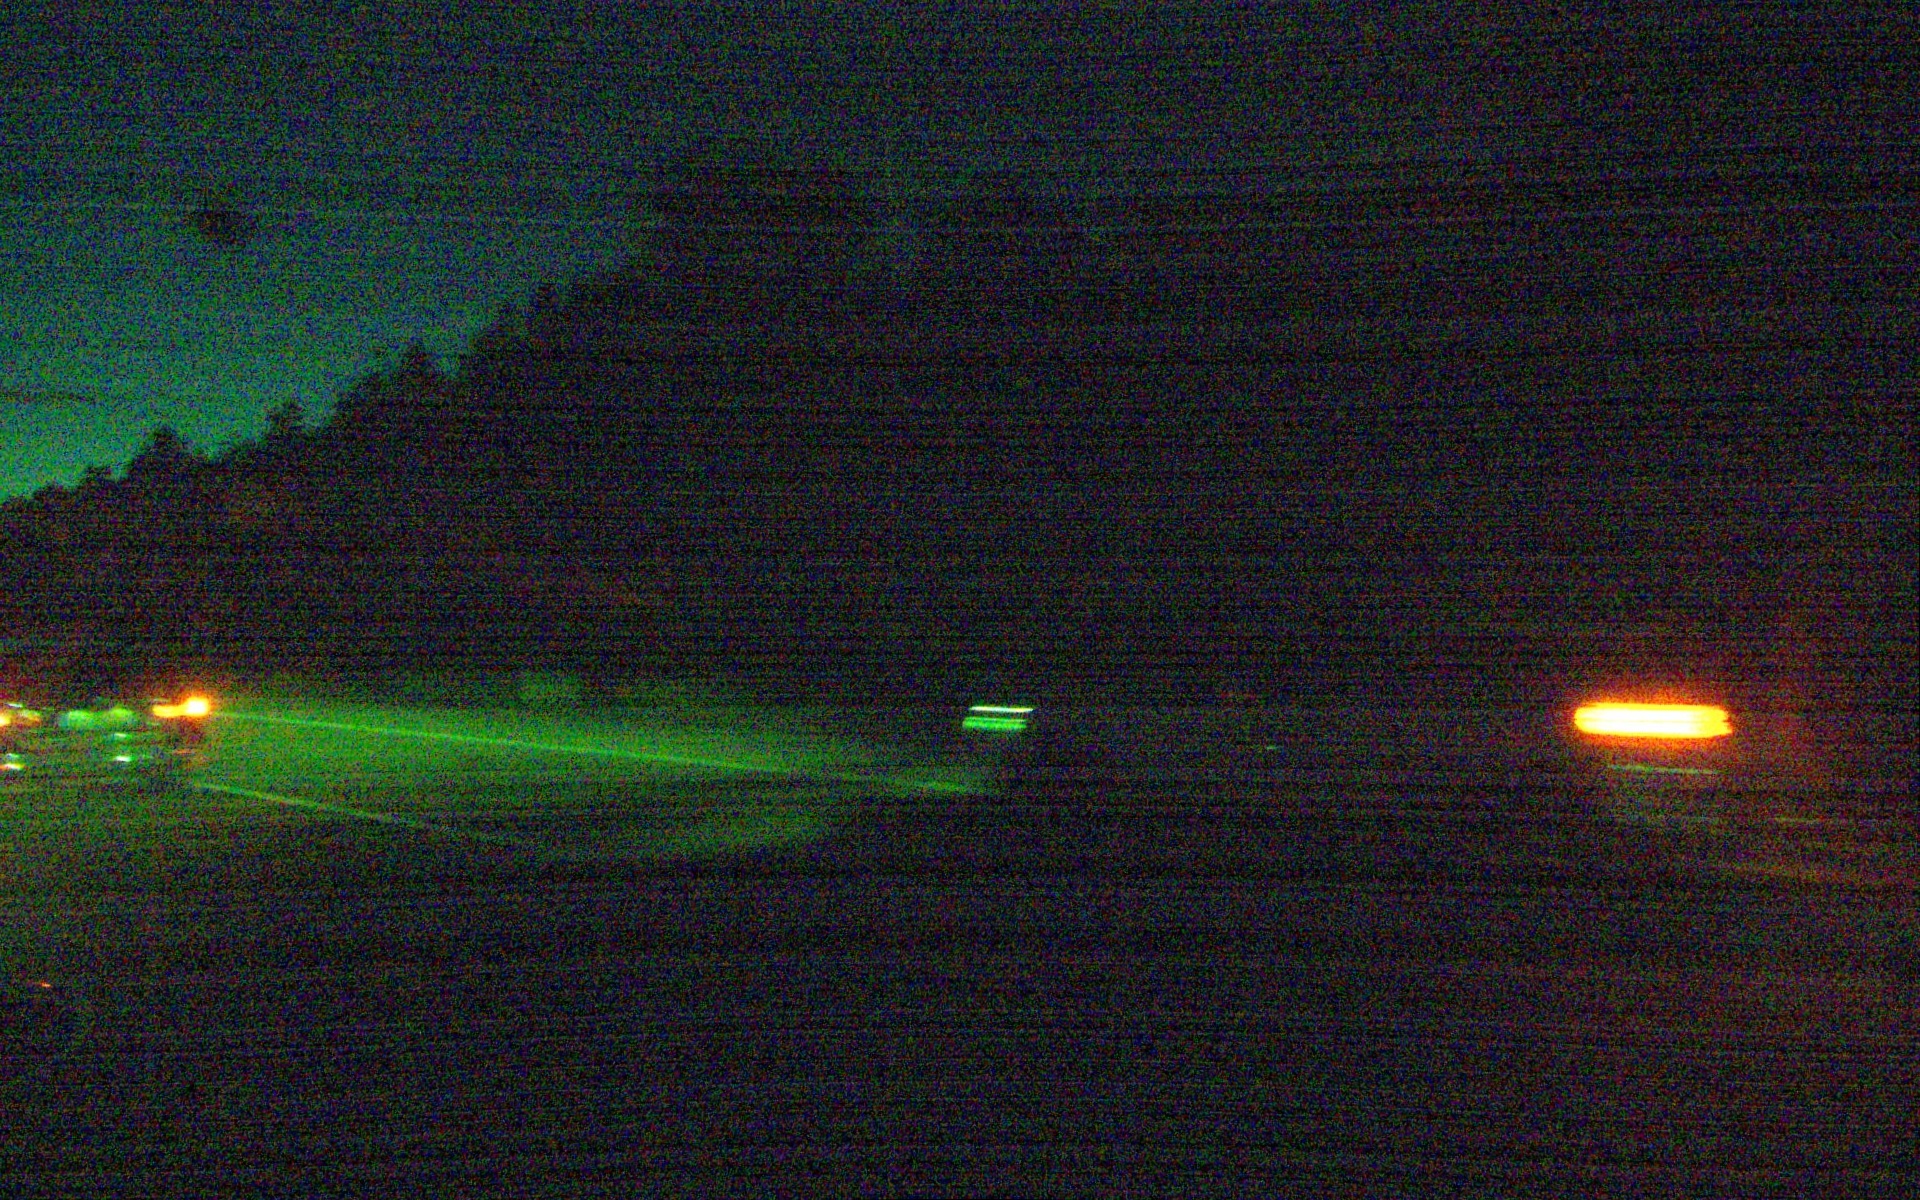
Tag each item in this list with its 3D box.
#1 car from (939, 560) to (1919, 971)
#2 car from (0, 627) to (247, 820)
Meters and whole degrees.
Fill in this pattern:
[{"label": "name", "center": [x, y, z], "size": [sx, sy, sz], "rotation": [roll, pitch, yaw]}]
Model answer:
[{"label": "car", "center": [2.521, 0.747, 6.420], "size": [5.094, 1.740, 1.990], "rotation": [-1, -1, 33]}, {"label": "car", "center": [-8.935, 0.972, 9.411], "size": [4.995, 1.419, 1.832], "rotation": [-1, -1, 31]}]
